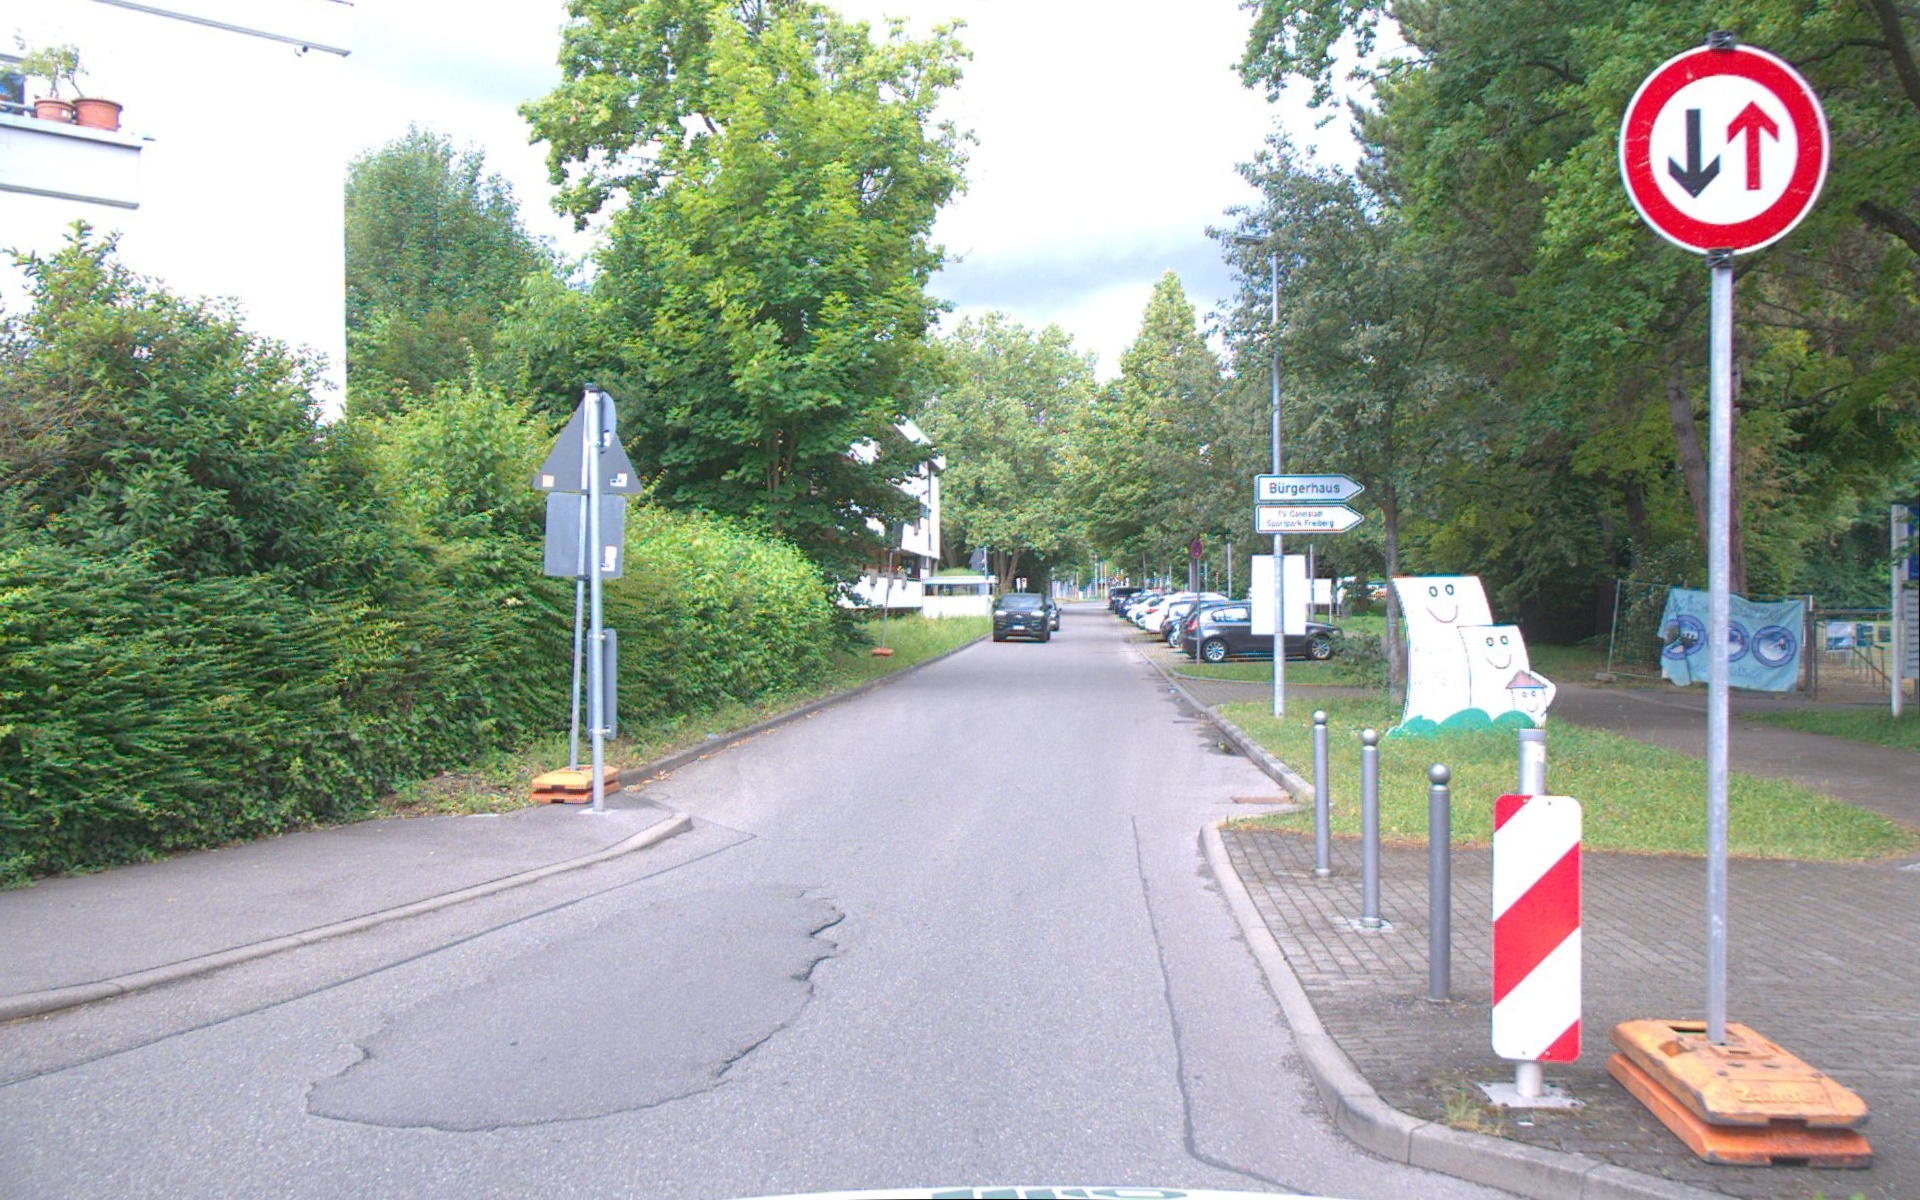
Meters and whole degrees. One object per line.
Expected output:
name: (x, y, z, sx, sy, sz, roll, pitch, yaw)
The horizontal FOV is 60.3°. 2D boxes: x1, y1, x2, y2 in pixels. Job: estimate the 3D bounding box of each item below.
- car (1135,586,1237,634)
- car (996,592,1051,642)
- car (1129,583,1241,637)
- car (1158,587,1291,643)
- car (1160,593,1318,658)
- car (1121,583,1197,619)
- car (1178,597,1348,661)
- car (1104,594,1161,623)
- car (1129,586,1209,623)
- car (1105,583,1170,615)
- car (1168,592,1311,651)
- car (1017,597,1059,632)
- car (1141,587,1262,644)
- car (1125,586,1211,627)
car: (9.491, 0.417, 69.651, 3.980, 1.716, 1.823, -4, 0, 1)
car: (2.380, 0.598, 61.071, 1.927, 1.778, 4.340, 0, 0, 3)
car: (8.574, 0.371, 63.211, 3.980, 1.716, 1.823, -4, 0, 1)
car: (8.613, 0.476, 54.136, 3.980, 1.514, 1.823, -4, 0, 1)
car: (7.458, 0.697, 44.484, 3.978, 1.596, 1.823, -2, -2, 3)
car: (11.233, 0.078, 93.633, 3.980, 1.716, 1.823, -4, 0, 1)
car: (7.582, 0.740, 41.705, 3.978, 1.459, 2.001, -2, -2, 3)
car: (12.682, 0.619, 121.761, 3.980, 1.801, 1.823, -4, 0, 1)
car: (11.193, 0.240, 88.697, 3.980, 1.716, 1.823, -4, 0, 1)
car: (11.683, -0.063, 109.110, 3.980, 1.801, 1.823, -4, 0, 1)
car: (8.300, 0.631, 49.375, 3.978, 1.595, 1.823, -2, 0, 3)
car: (3.722, 0.658, 78.061, 1.927, 1.603, 4.340, 0, 0, 3)
car: (8.643, 0.547, 59.383, 3.980, 1.716, 1.823, -4, 0, 1)
car: (10.410, 0.329, 82.882, 3.980, 1.716, 1.823, -4, 0, 1)
